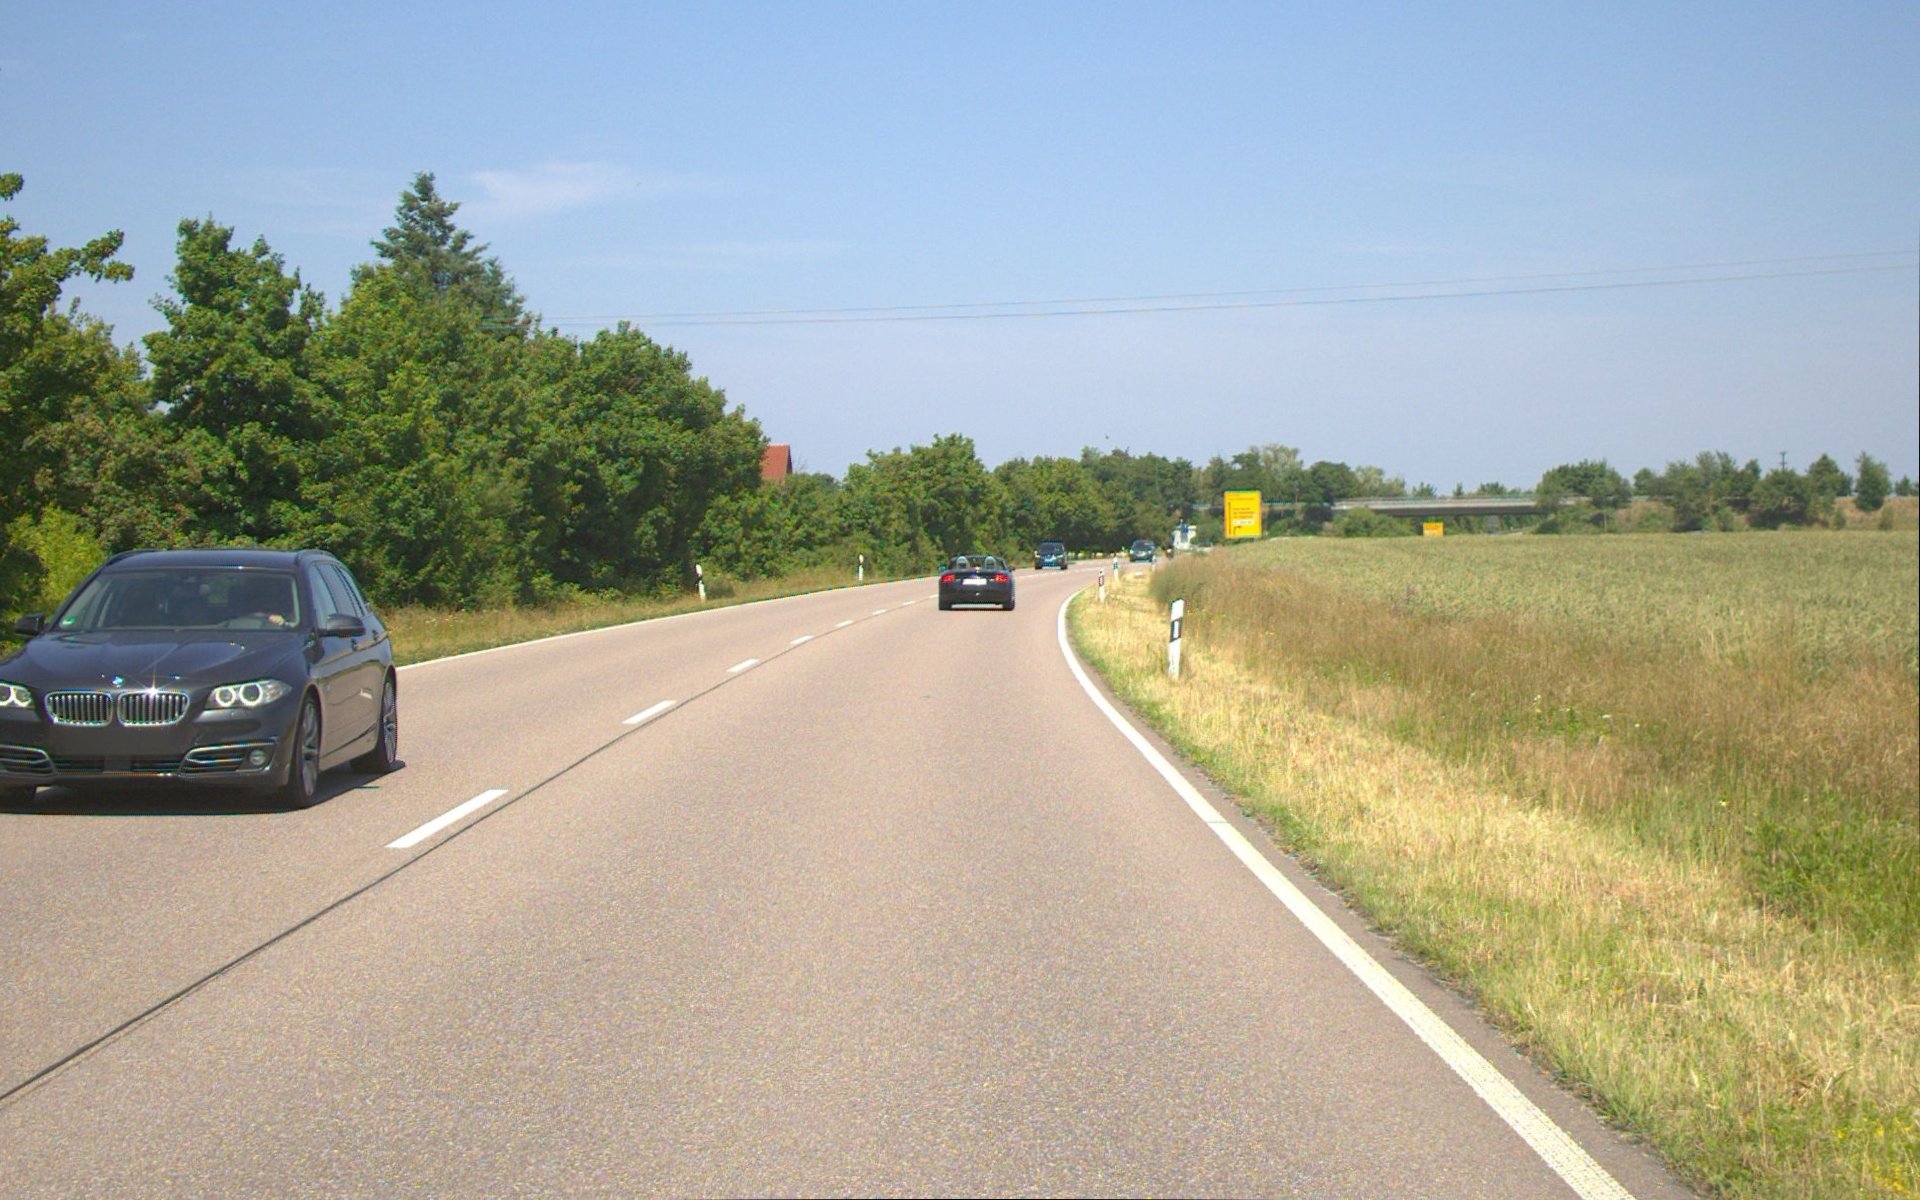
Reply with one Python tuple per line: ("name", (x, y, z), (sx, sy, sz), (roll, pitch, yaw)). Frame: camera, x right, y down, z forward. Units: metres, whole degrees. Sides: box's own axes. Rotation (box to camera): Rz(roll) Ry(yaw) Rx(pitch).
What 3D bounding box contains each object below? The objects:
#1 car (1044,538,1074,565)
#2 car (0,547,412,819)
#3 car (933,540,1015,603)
("car", (5.932, -2.894, 205.176), (1.699, 1.561, 3.671), (-1, 1, 3))
("car", (-4.510, 0.412, 20.710), (1.800, 1.445, 4.533), (0, 1, -1))
("car", (0.360, -0.694, 82.097), (1.814, 1.436, 4.000), (1, 1, 2))
